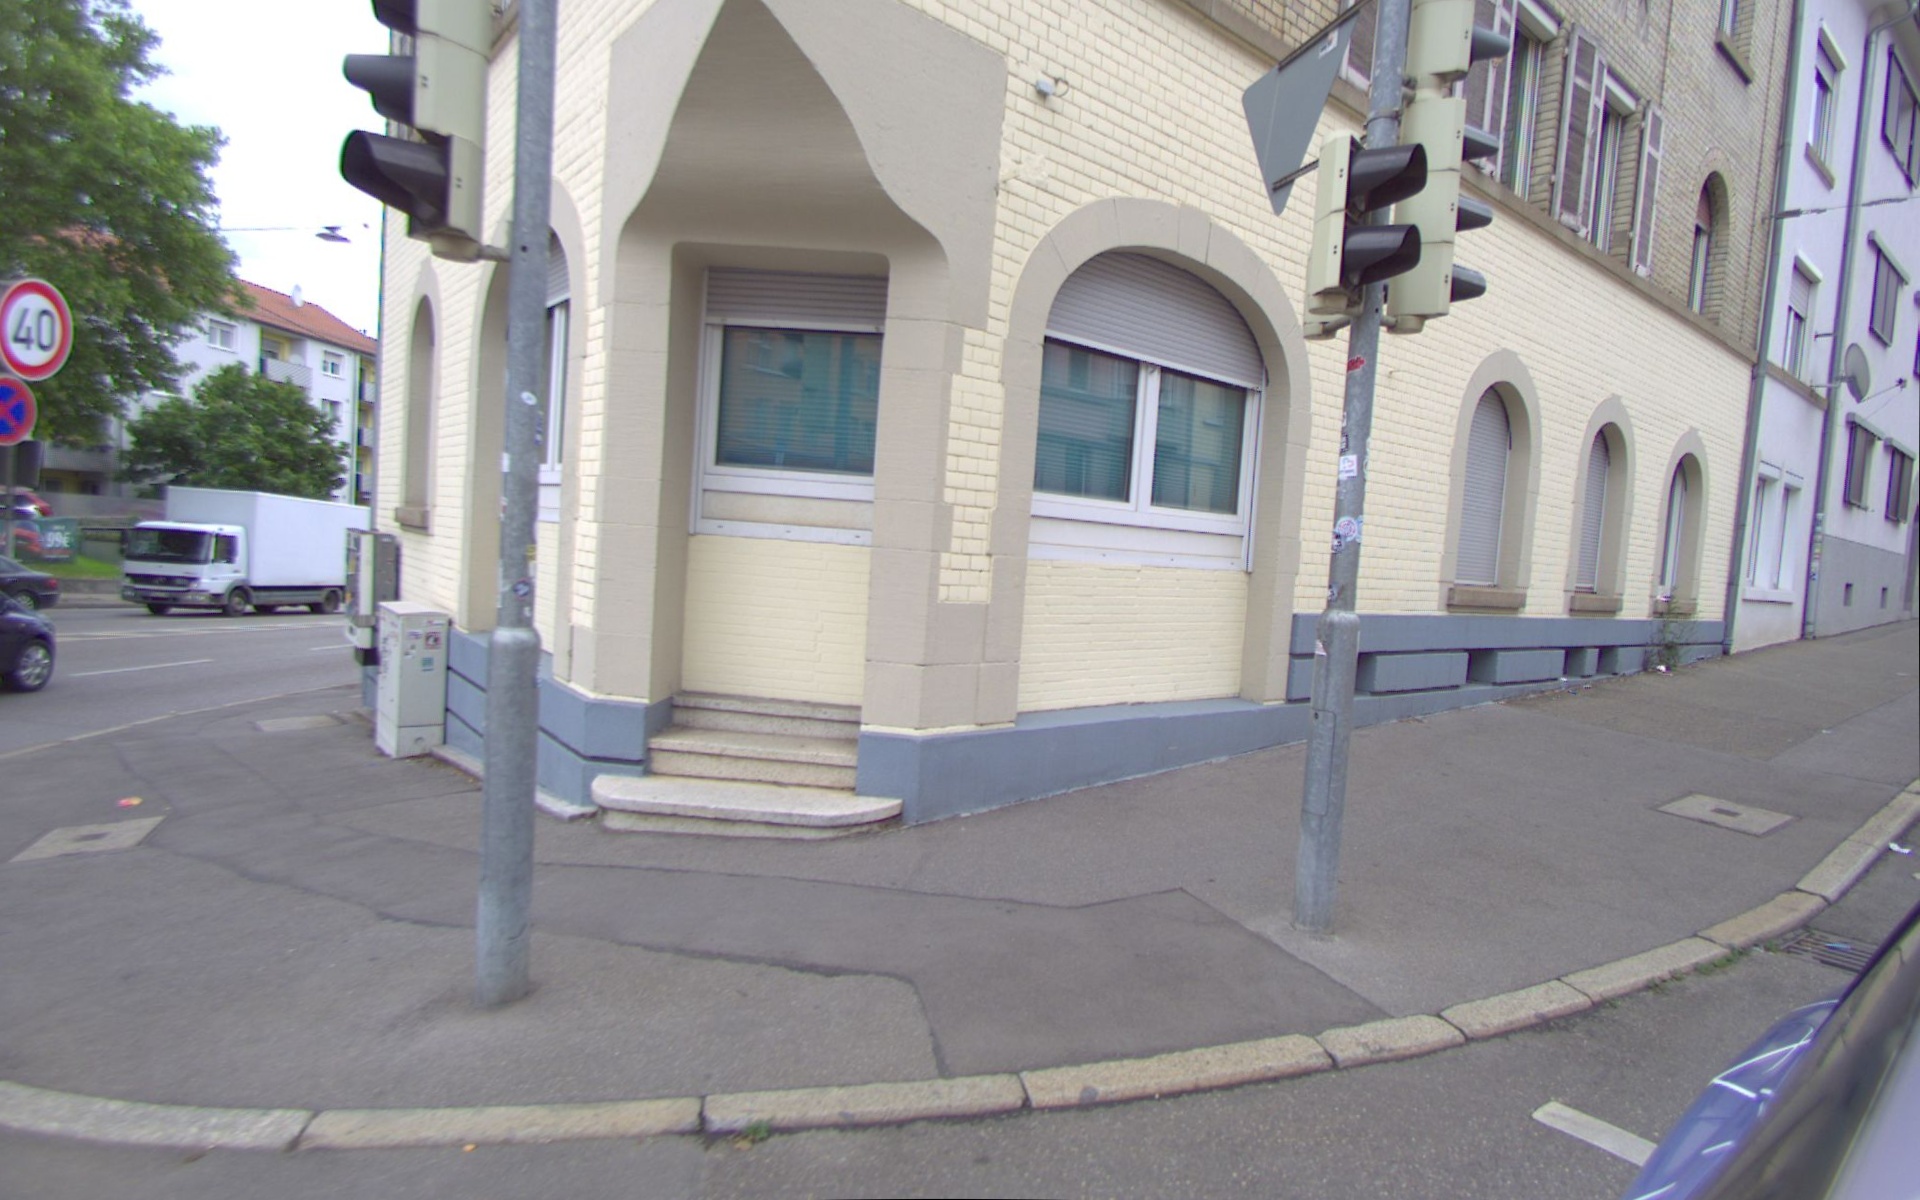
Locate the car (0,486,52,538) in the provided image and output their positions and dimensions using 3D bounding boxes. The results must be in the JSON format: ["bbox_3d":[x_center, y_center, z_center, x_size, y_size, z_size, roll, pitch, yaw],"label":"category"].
[{"bbox_3d":[-36.845,-3.423,37.976,3.927,1.845,1.862,3,2,-39],"label":"car"}]

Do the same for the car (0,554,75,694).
[{"bbox_3d":[-10.912,0.257,10.042,1.723,1.465,3.760,2,1,-16],"label":"car"}]

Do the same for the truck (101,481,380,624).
[{"bbox_3d":[-20.791,-1.323,30.047,2.719,3.545,8.177,2,1,-3],"label":"truck"}]

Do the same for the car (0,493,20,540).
[{"bbox_3d":[-33.640,-2.908,33.352,1.781,1.523,3.572,5,2,34],"label":"car"}]

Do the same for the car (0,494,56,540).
[{"bbox_3d":[-34.945,-3.057,35.914,1.853,1.523,3.947,5,2,36],"label":"car"}]

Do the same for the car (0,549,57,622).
[{"bbox_3d":[-20.466,-0.301,19.739,1.960,1.484,4.414,2,1,-4],"label":"car"}]
